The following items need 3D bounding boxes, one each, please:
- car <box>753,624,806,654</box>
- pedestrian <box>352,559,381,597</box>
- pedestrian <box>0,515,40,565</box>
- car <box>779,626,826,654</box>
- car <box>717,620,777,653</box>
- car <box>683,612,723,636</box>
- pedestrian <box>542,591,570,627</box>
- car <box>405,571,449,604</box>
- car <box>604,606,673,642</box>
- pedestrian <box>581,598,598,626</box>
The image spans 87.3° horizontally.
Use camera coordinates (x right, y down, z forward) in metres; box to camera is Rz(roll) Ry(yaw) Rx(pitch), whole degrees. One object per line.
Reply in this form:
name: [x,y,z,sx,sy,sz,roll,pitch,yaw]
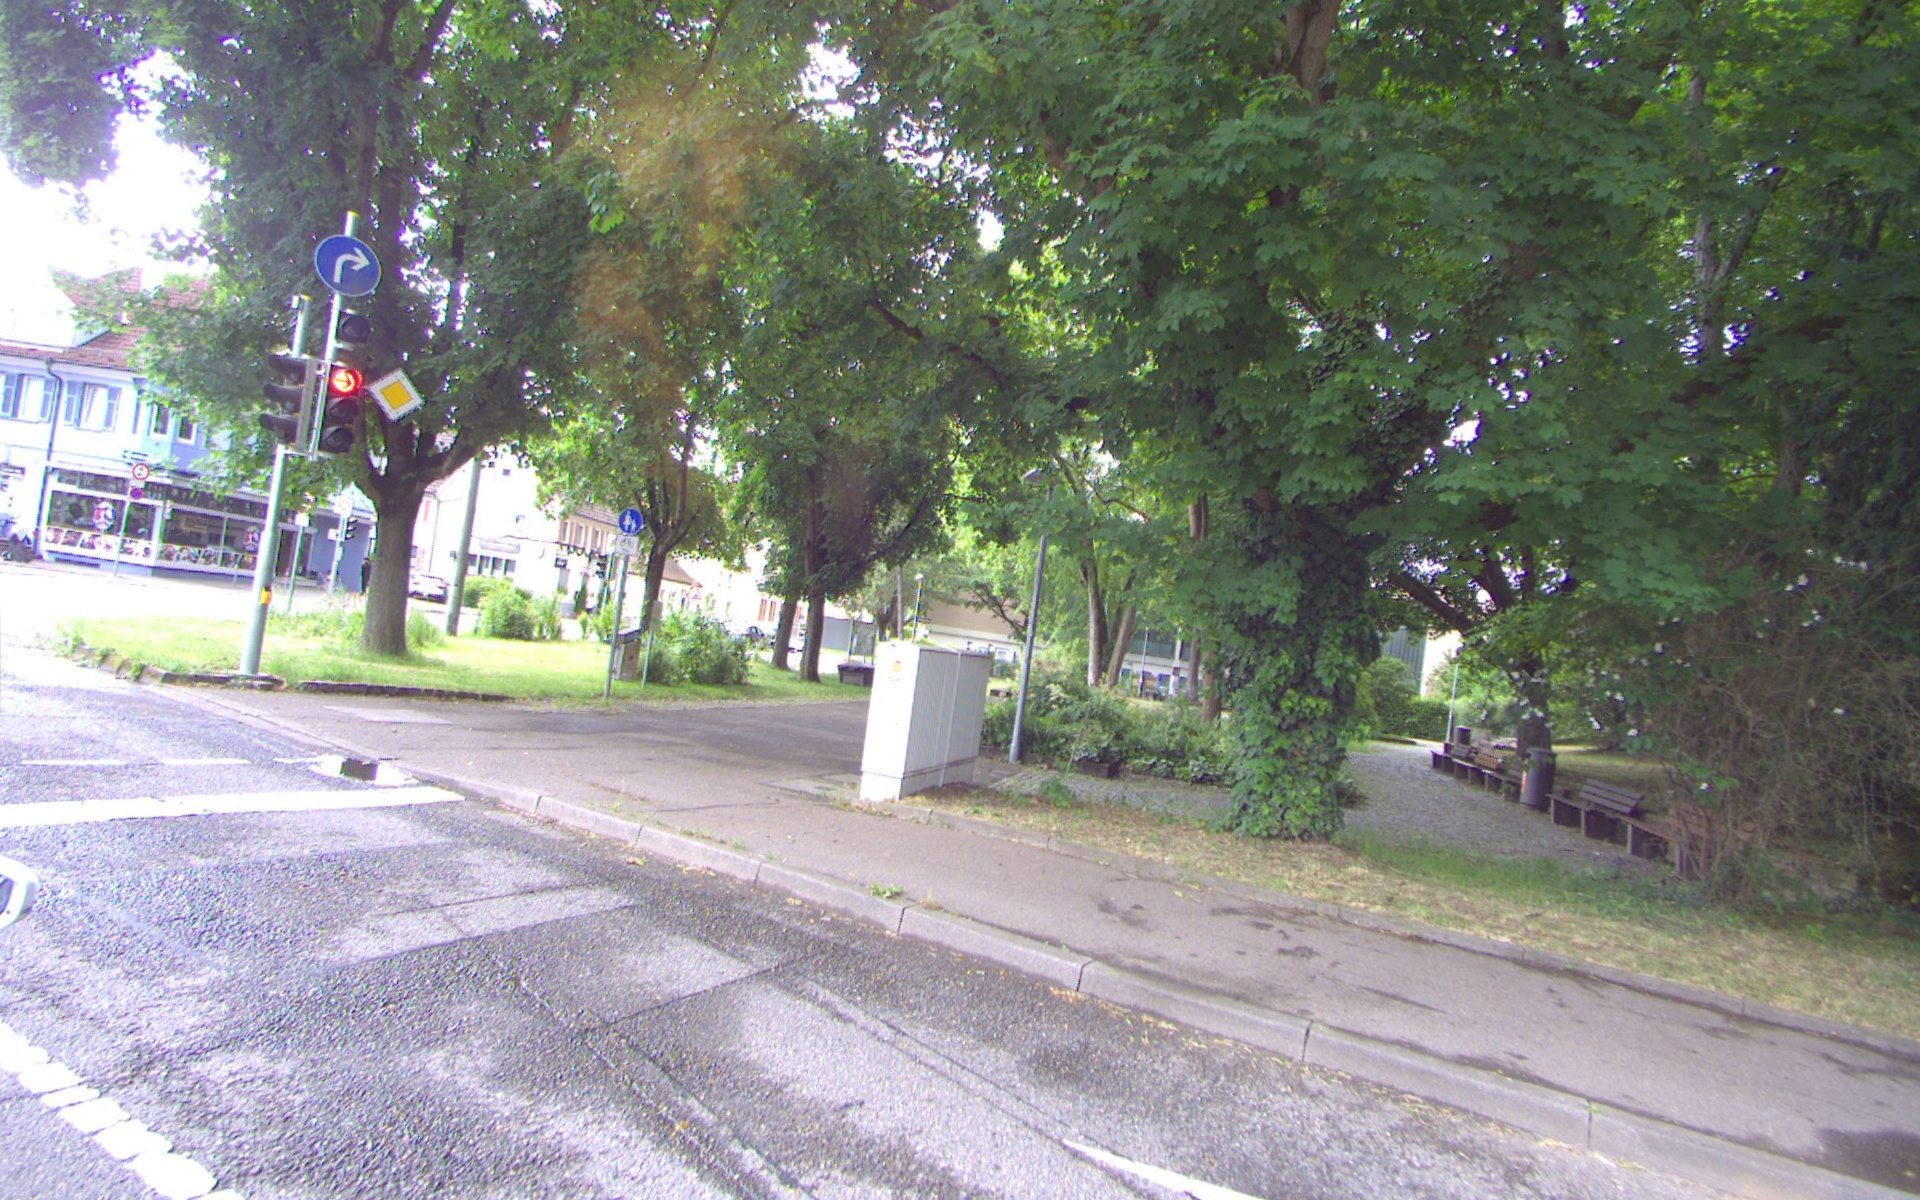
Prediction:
car: [-10.699,2.335,59.909,1.618,1.474,3.740,7,-2,13]
pedestrian: [-26.832,-0.979,45.479,0.732,1.578,0.673,6,-1,17]
pedestrian: [-31.584,-2.002,33.781,0.688,1.578,0.662,7,-1,-27]
car: [-10.273,2.651,66.040,1.618,1.474,3.740,7,-2,13]
car: [-11.562,2.012,54.935,1.618,1.474,3.740,7,-2,13]
car: [-18.888,1.794,74.084,1.736,1.463,3.865,7,-2,2]
pedestrian: [-12.978,0.293,32.290,0.506,1.093,0.507,6,-1,17]
car: [-28.174,-0.693,53.163,1.870,1.406,3.589,9,-2,-28]
car: [-14.064,1.096,44.161,1.436,1.282,3.014,7,-2,13]
pedestrian: [-21.600,0.704,58.655,0.500,1.578,0.505,6,-1,17]
